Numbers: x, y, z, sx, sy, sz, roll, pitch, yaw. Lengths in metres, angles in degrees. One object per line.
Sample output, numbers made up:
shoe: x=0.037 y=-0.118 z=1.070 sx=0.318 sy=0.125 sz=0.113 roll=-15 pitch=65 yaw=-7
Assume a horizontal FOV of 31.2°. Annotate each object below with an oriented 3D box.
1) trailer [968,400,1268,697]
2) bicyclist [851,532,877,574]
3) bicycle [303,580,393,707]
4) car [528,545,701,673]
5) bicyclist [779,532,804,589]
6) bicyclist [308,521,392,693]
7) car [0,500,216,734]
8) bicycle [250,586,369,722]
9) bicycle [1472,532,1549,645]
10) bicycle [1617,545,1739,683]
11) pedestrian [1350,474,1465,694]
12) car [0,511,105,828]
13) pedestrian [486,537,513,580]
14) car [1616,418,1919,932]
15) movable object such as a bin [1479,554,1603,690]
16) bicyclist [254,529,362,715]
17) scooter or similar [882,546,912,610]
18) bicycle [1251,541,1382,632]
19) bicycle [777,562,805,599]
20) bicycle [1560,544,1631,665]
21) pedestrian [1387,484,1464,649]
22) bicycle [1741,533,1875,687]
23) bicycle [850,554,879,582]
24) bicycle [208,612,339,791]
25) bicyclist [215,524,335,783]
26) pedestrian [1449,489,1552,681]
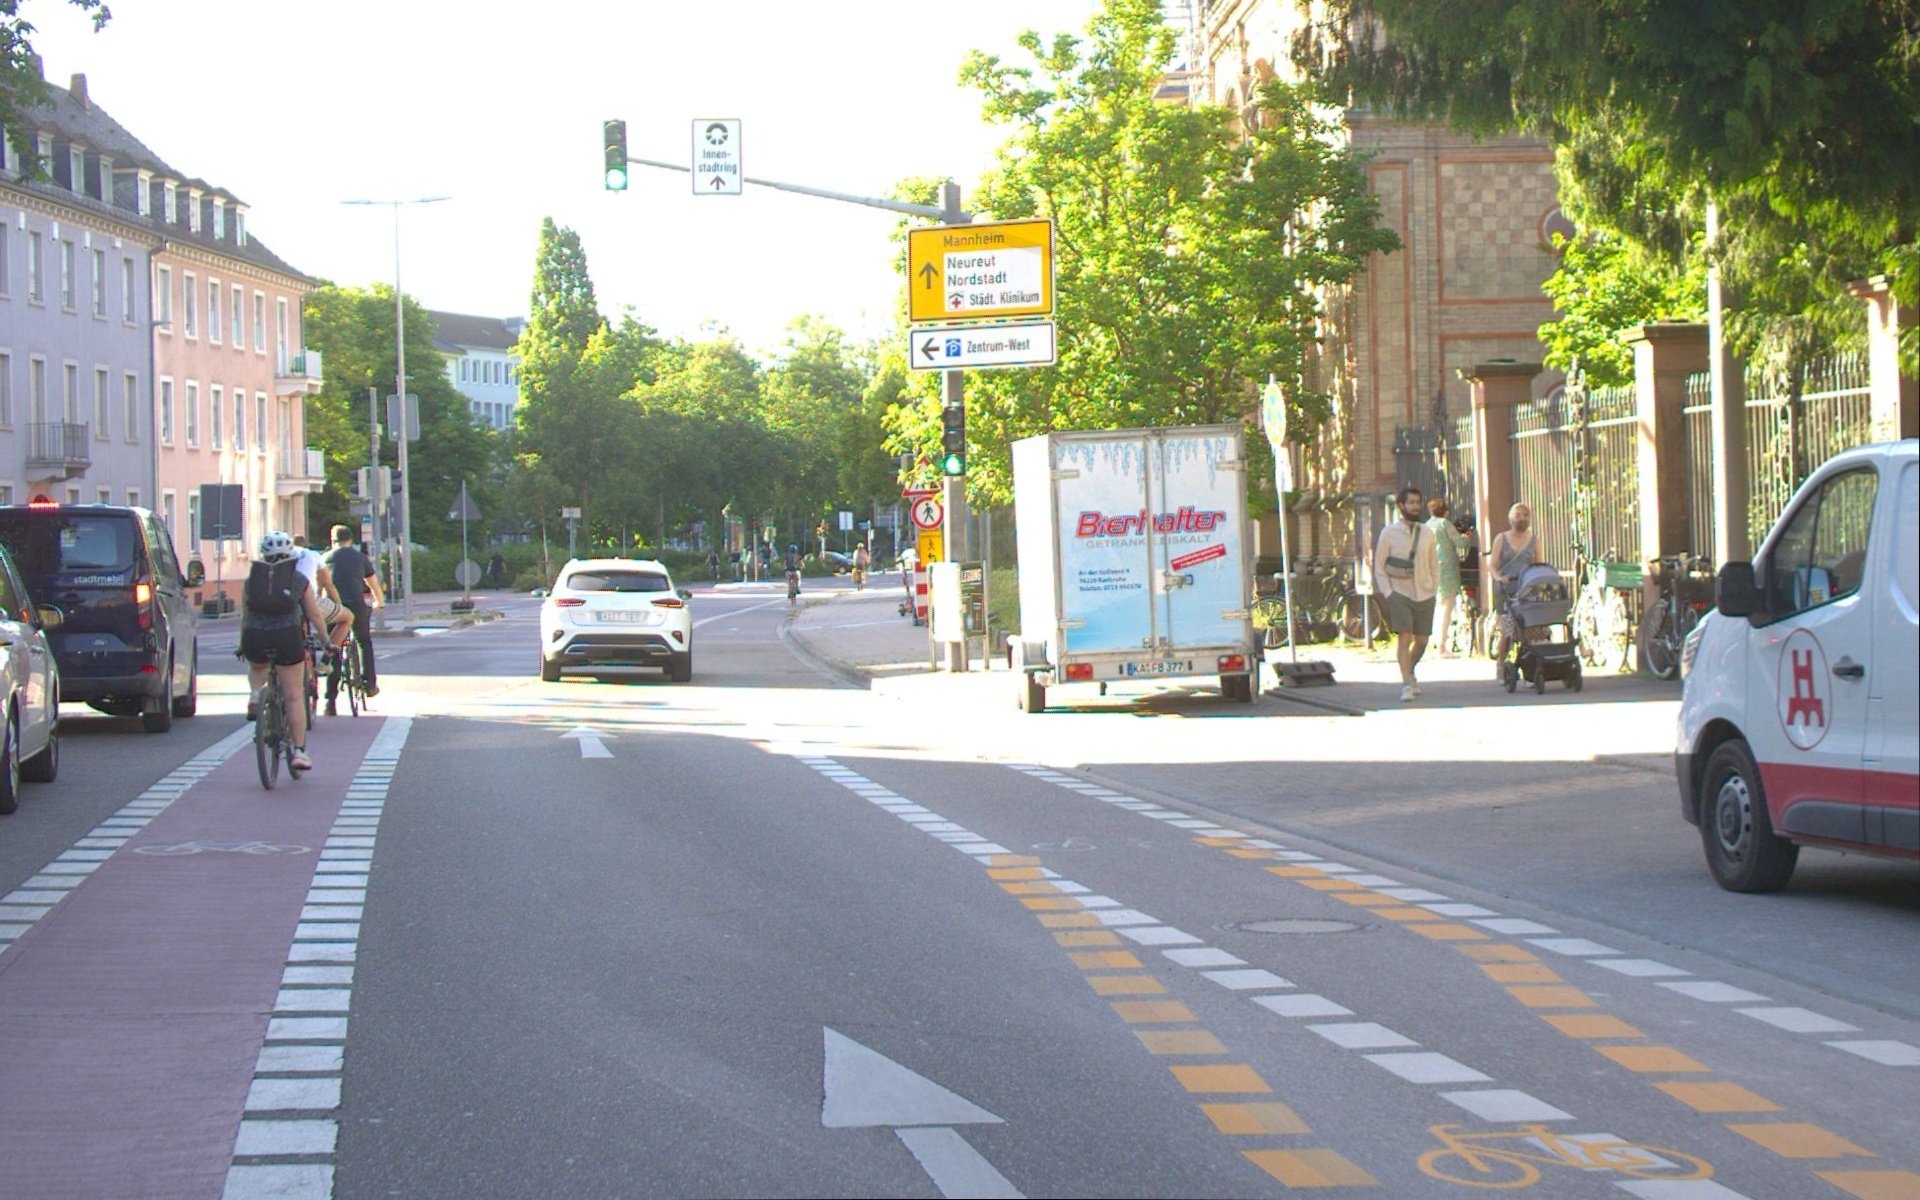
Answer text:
trailer: x=1.418 y=-0.507 z=32.785 sx=2.079 sy=2.519 sz=4.493 roll=-3 pitch=2 yaw=-6
bicyclist: x=-3.525 y=-1.718 z=126.450 sx=0.747 sy=1.532 sz=0.969 roll=-1 pitch=1 yaw=9
bicycle: x=-5.846 y=0.398 z=32.915 sx=0.642 sy=1.151 sz=2.077 roll=-1 pitch=1 yaw=-5
car: x=-4.356 y=0.076 z=42.864 sx=1.993 sy=1.448 sz=4.001 roll=-2 pitch=1 yaw=-7
bicyclist: x=-4.849 y=-1.136 z=99.010 sx=0.636 sy=1.609 sz=1.284 roll=0 pitch=1 yaw=2
bicyclist: x=-5.841 y=0.058 z=32.936 sx=0.670 sy=1.602 sz=0.825 roll=-2 pitch=1 yaw=-5
car: x=-8.032 y=0.127 z=31.204 sx=2.067 sy=1.909 sz=5.034 roll=-2 pitch=1 yaw=-8
bicycle: x=-5.767 y=0.461 z=30.584 sx=0.828 sy=1.139 sz=1.970 roll=-1 pitch=1 yaw=-5
bicycle: x=5.659 y=-0.133 z=35.418 sx=0.399 sy=1.102 sz=1.681 roll=-3 pitch=1 yaw=-2
bicycle: x=6.147 y=0.103 z=29.518 sx=0.395 sy=1.126 sz=1.928 roll=-2 pitch=1 yaw=-7
pedestrian: x=3.956 y=-0.149 z=30.428 sx=0.715 sy=1.888 sz=0.890 roll=-3 pitch=2 yaw=-10
car: x=-6.587 y=0.367 z=21.121 sx=1.991 sy=1.743 sz=4.748 roll=-2 pitch=1 yaw=-7
pedestrian: x=-19.911 y=-1.792 z=148.576 sx=0.856 sy=1.845 sz=1.001 roll=-2 pitch=1 yaw=7
car: x=4.573 y=0.274 z=13.312 sx=2.014 sy=1.939 sz=5.483 roll=0 pitch=1 yaw=-12
movable object such as a bin: x=5.097 y=0.181 z=30.204 sx=0.711 sy=1.113 sz=1.051 roll=-4 pitch=2 yaw=-9
bicyclist: x=-5.776 y=0.184 z=30.491 sx=0.802 sy=1.602 sz=0.825 roll=-2 pitch=1 yaw=-5
scooter or similar: x=-1.316 y=-0.473 z=72.107 sx=0.555 sy=1.304 sz=1.832 roll=-2 pitch=1 yaw=0
bicycle: x=4.309 y=-0.170 z=41.562 sx=1.466 sy=1.035 sz=0.479 roll=-2 pitch=1 yaw=-6
bicycle: x=-4.856 y=-0.574 z=98.896 sx=0.643 sy=1.021 sz=2.212 roll=0 pitch=1 yaw=1
bicycle: x=6.028 y=0.029 z=32.668 sx=0.274 sy=1.102 sz=1.532 roll=-3 pitch=1 yaw=-2
pedestrian: x=5.049 y=-0.369 z=37.311 sx=0.639 sy=1.762 sz=0.738 roll=-2 pitch=1 yaw=-4
bicycle: x=6.719 y=0.060 z=27.297 sx=0.418 sy=1.152 sz=1.826 roll=-4 pitch=1 yaw=-4
bicycle: x=-3.511 y=-1.190 z=126.414 sx=0.753 sy=1.022 sz=1.869 roll=0 pitch=0 yaw=9
bicycle: x=-4.443 y=0.637 z=22.336 sx=0.669 sy=1.069 sz=1.753 roll=-1 pitch=1 yaw=-6
bicyclist: x=-4.451 y=0.334 z=22.381 sx=0.672 sy=1.646 sz=0.887 roll=-1 pitch=1 yaw=-7
pedestrian: x=4.893 y=-0.144 z=31.138 sx=0.682 sy=1.695 sz=0.694 roll=-3 pitch=2 yaw=-8
